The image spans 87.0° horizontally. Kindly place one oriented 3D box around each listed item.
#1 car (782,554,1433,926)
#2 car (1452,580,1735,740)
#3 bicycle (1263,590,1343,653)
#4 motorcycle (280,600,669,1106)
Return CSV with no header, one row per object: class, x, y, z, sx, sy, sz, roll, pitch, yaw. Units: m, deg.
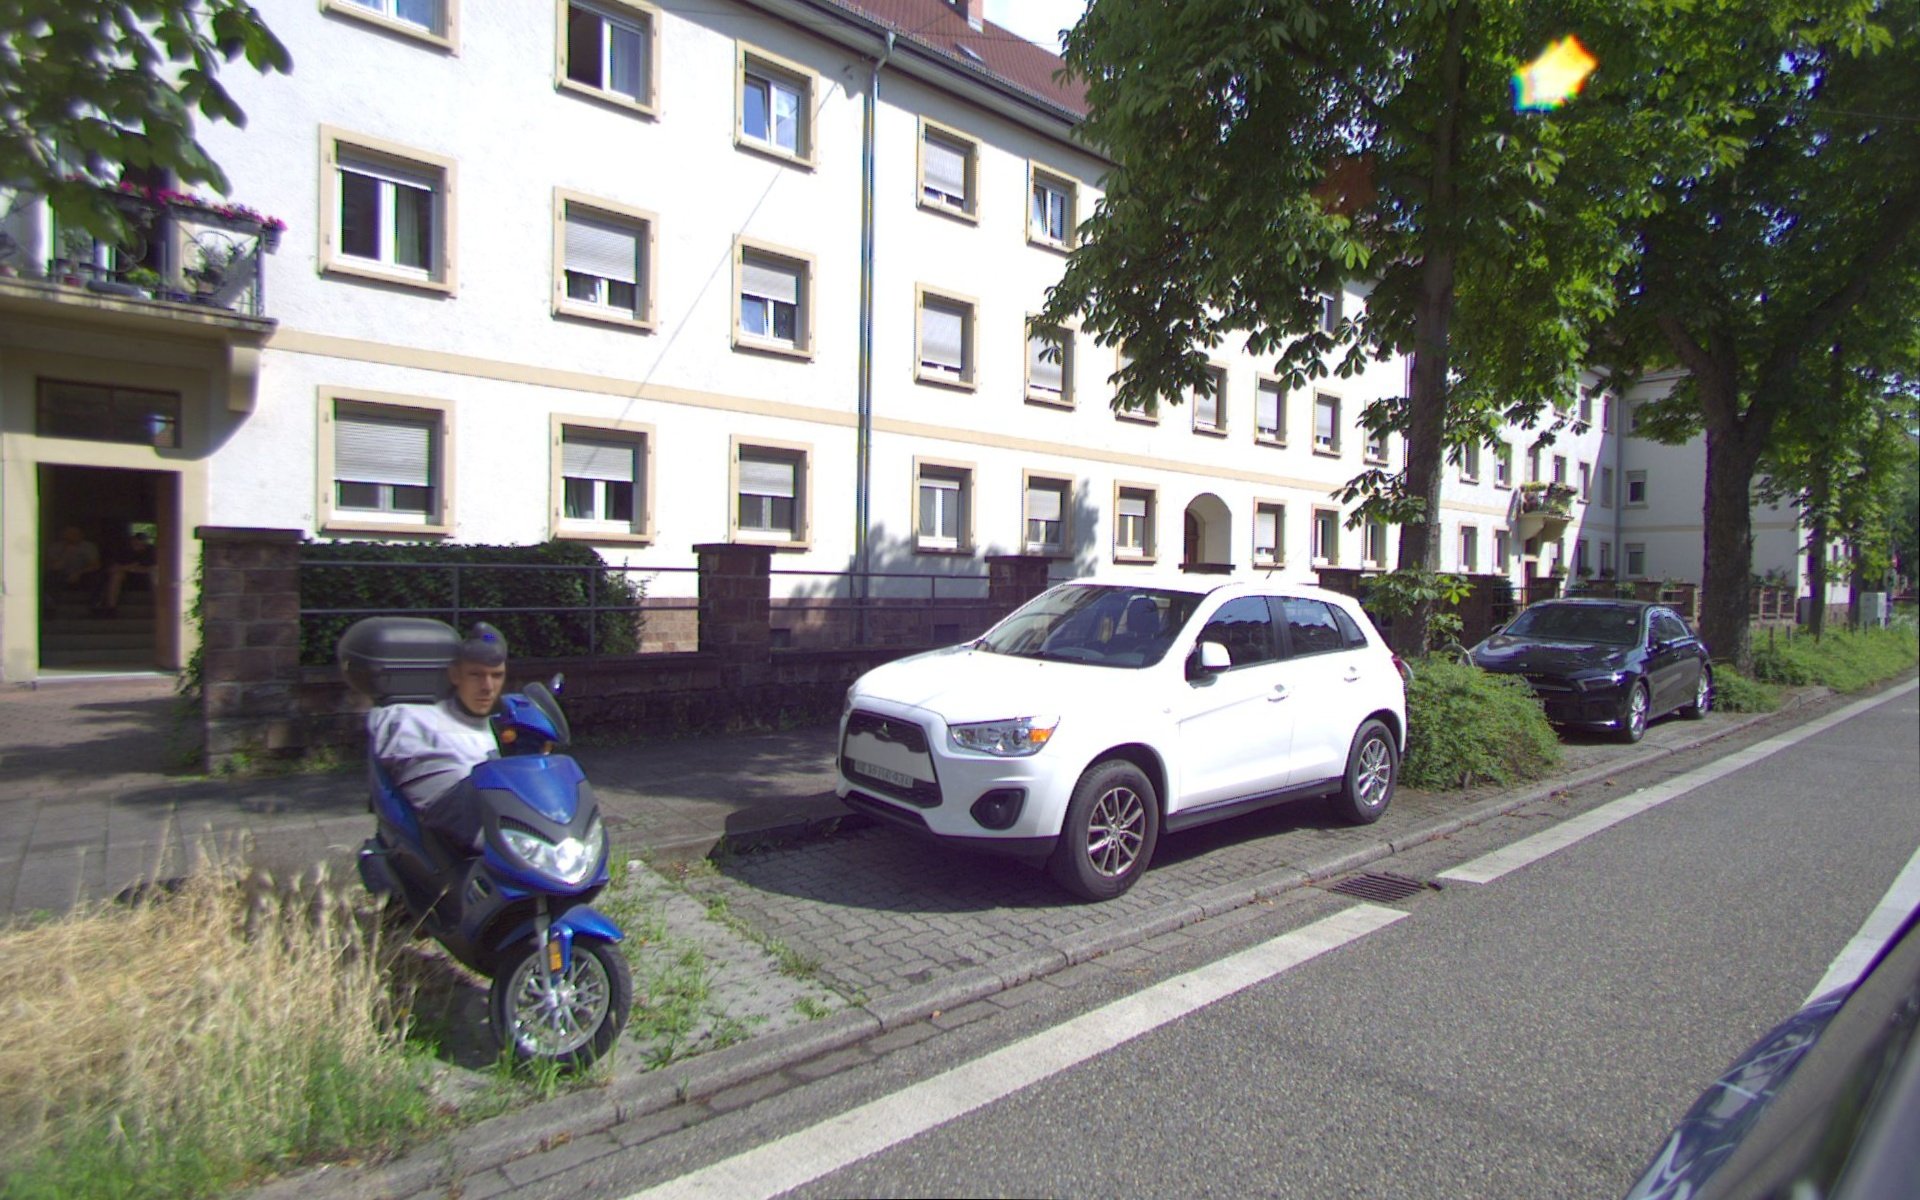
car,1.148,0.576,6.376,4.174,1.600,1.745,0,1,-40
car,7.492,0.557,11.796,4.213,1.540,1.663,0,1,-41
bicycle,6.572,0.390,19.378,1.769,1.149,0.626,0,1,-40
motorcycle,-1.910,0.701,3.789,0.735,1.353,2.008,0,1,-43
